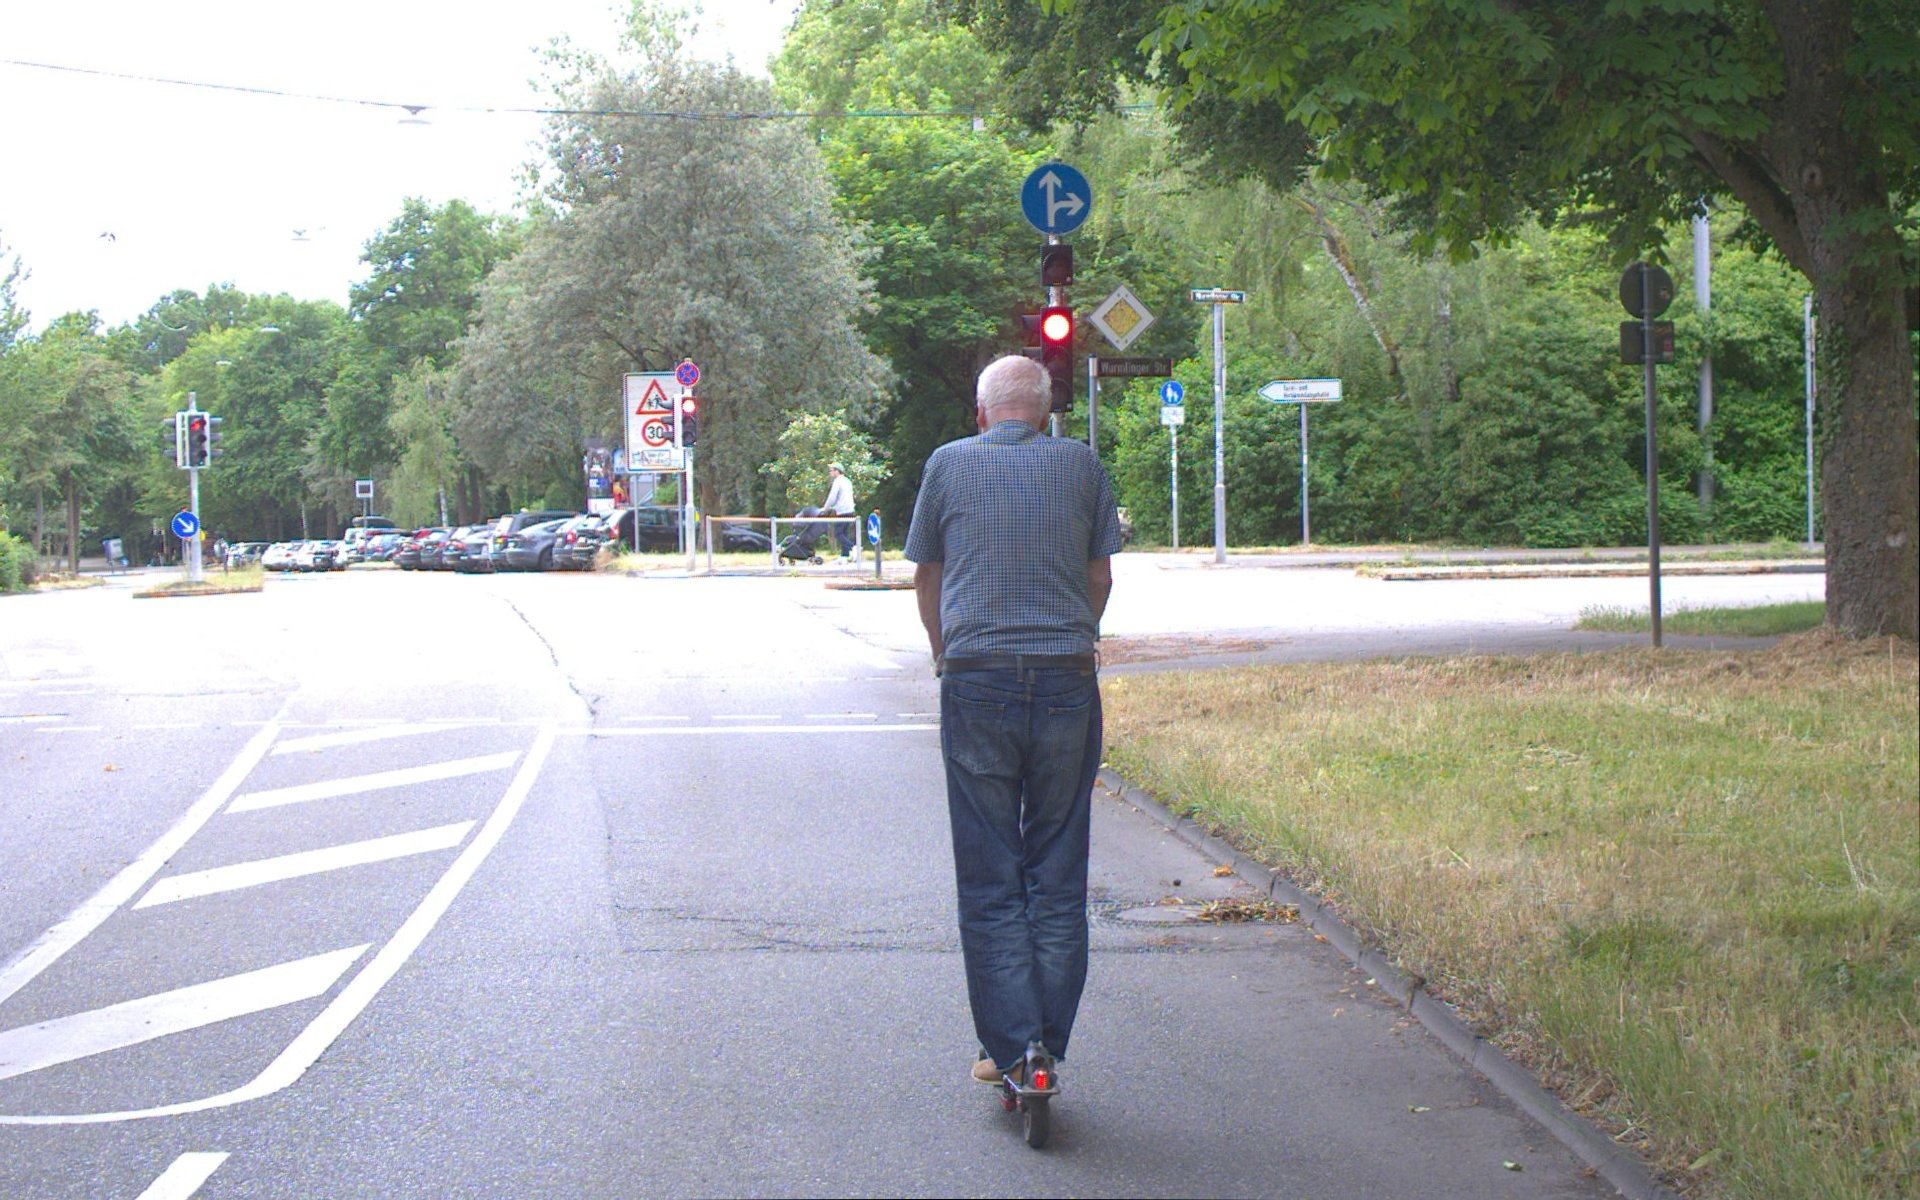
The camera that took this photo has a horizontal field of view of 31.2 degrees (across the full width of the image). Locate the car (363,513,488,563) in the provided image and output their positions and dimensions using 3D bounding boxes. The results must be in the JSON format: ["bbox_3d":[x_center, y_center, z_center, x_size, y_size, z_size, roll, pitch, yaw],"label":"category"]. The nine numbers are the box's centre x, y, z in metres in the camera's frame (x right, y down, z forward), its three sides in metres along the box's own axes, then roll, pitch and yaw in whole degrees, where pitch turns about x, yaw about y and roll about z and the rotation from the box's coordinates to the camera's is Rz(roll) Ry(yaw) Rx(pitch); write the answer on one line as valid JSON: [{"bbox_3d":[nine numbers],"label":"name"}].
[{"bbox_3d":[-17.689,-2.063,113.981,3.986,1.505,1.801,-2,2,-7],"label":"car"}]

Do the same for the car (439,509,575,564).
[{"bbox_3d":[-13.694,-1.931,104.044,3.986,1.505,1.801,-2,2,-7],"label":"car"}]

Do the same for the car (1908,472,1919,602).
[{"bbox_3d":[13.808,-0.754,42.141,3.988,1.551,1.800,0,5,8],"label":"car"}]

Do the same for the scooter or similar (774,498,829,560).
[{"bbox_3d":[-2.731,-1.228,59.348,0.710,1.045,0.787,-1,1,15],"label":"scooter or similar"}]

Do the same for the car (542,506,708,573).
[{"bbox_3d":[-8.294,-1.508,84.940,3.986,1.505,1.801,-2,2,-7],"label":"car"}]

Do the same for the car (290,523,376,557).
[{"bbox_3d":[-30.700,-2.927,168.363,3.986,1.505,1.801,-2,2,-7],"label":"car"}]

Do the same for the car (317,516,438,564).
[{"bbox_3d":[-20.075,-2.085,118.581,3.986,1.505,1.801,-2,2,-7],"label":"car"}]

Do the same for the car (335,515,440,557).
[{"bbox_3d":[-22.604,-2.527,135.831,3.986,1.505,1.801,-2,2,-7],"label":"car"}]

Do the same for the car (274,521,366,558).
[{"bbox_3d":[-29.158,-2.772,156.755,3.986,1.505,1.801,-2,2,-7],"label":"car"}]

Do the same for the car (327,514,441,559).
[{"bbox_3d":[-20.944,-2.313,125.089,3.986,1.505,1.801,-2,2,-7],"label":"car"}]

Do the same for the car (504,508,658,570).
[{"bbox_3d":[-10.113,-1.646,91.671,3.986,1.505,1.801,-2,2,-7],"label":"car"}]

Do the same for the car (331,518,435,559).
[{"bbox_3d":[-23.217,-2.491,138.387,3.986,1.505,1.801,-2,2,-7],"label":"car"}]

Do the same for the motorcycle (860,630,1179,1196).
[{"bbox_3d":[0.115,0.702,8.291,0.672,1.213,1.274,0,2,-3],"label":"motorcycle"}]

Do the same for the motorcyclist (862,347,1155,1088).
[{"bbox_3d":[0.106,0.270,8.470,0.672,1.755,0.639,0,1,-3],"label":"motorcyclist"}]

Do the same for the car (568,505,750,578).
[{"bbox_3d":[-6.840,-1.337,77.894,3.986,1.505,1.801,-2,2,-7],"label":"car"}]

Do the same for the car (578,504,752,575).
[{"bbox_3d":[-7.010,-1.445,81.469,3.986,1.505,1.801,-2,2,-7],"label":"car"}]

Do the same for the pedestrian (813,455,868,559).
[{"bbox_3d":[-2.047,-1.596,59.008,0.732,1.755,0.661,-1,1,15],"label":"pedestrian"}]

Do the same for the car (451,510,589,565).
[{"bbox_3d":[-13.074,-1.869,102.176,3.986,1.505,1.801,-2,2,-7],"label":"car"}]
